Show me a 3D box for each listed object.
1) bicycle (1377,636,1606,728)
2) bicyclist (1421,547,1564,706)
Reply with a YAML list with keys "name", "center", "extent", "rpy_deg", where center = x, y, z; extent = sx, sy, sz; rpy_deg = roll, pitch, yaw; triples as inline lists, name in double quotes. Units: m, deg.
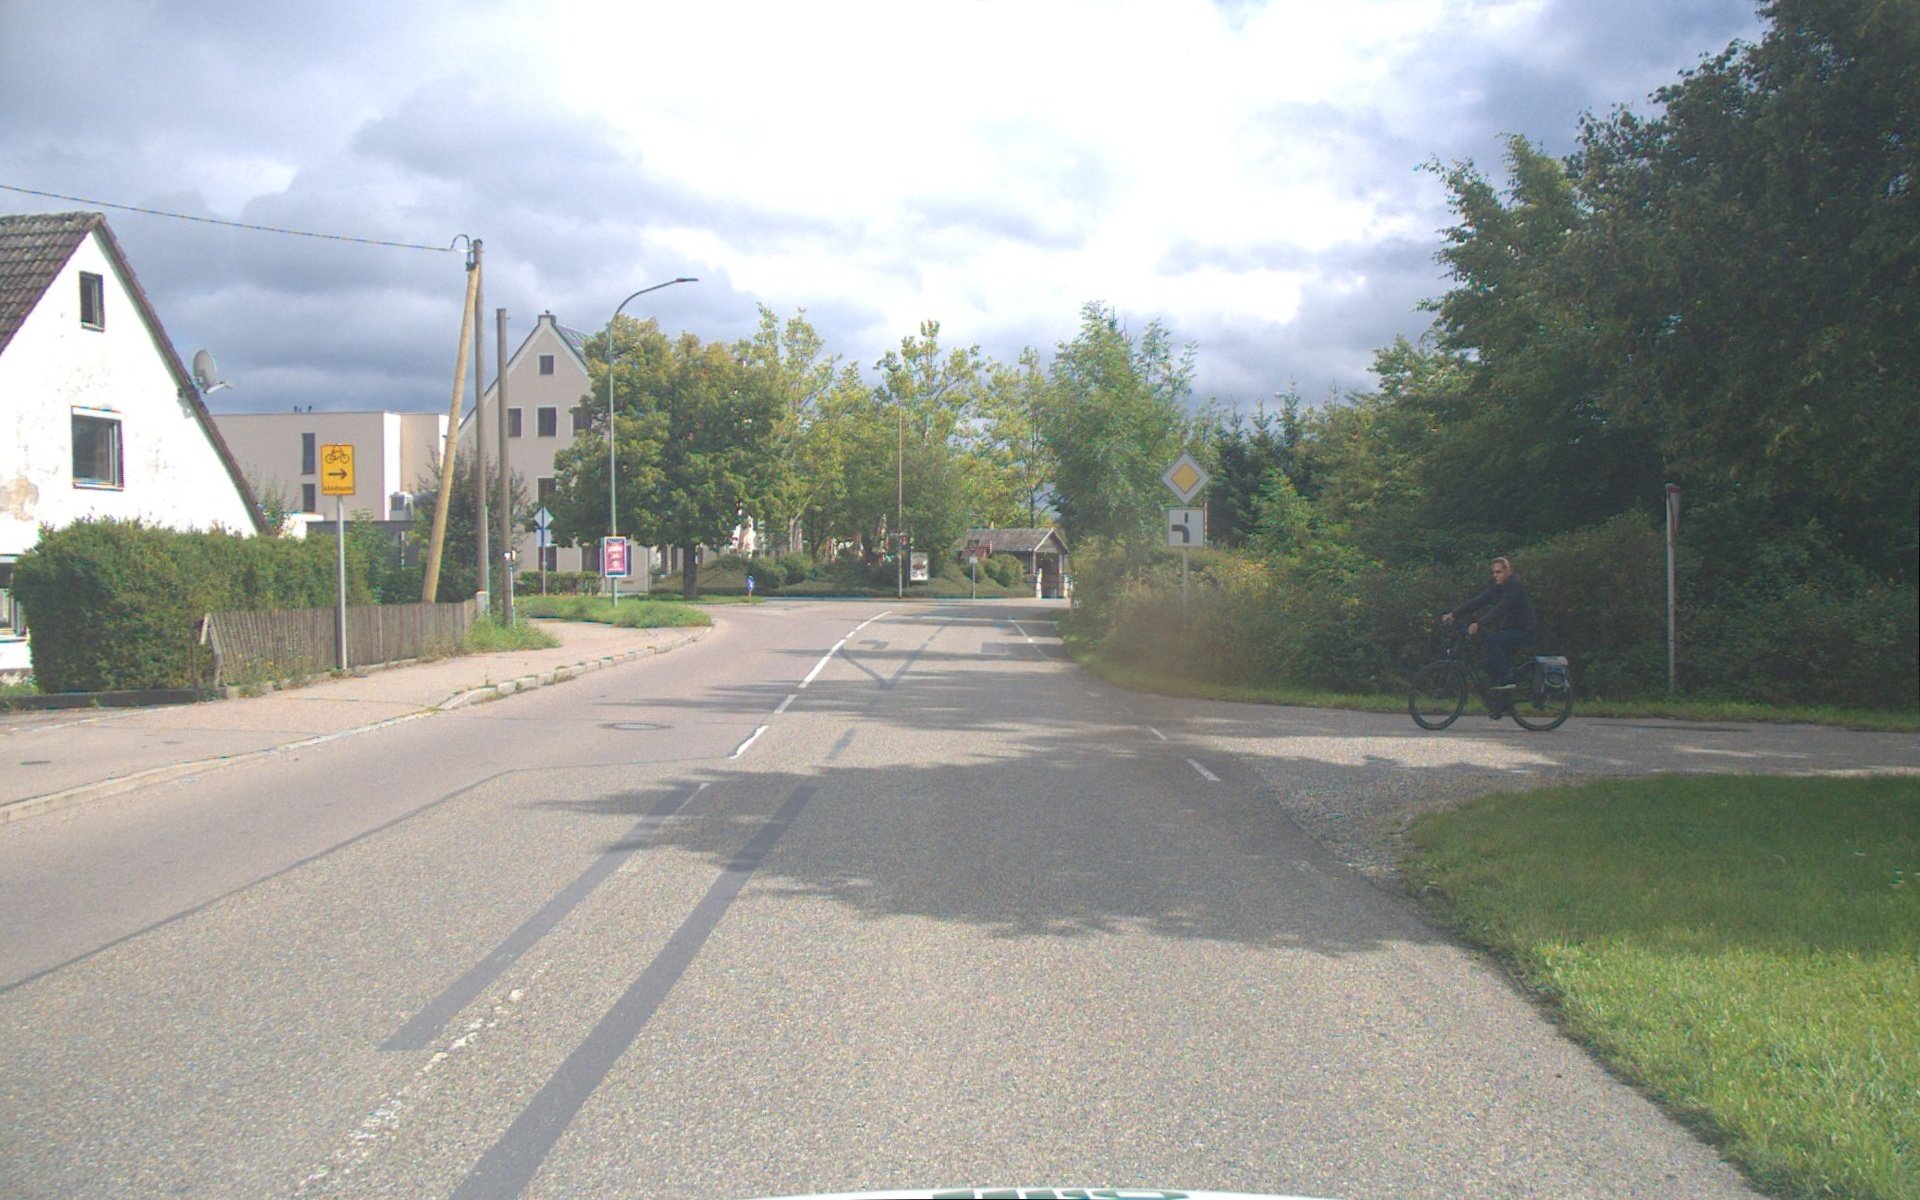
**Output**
- name: "bicycle"
  center: [5.608, 0.849, 17.510]
  extent: [2.080, 0.879, 1.050]
  rpy_deg: [1, 1, -15]
- name: "bicyclist"
  center: [5.613, 0.263, 17.498]
  extent: [1.000, 1.613, 1.050]
  rpy_deg: [1, 1, -15]
